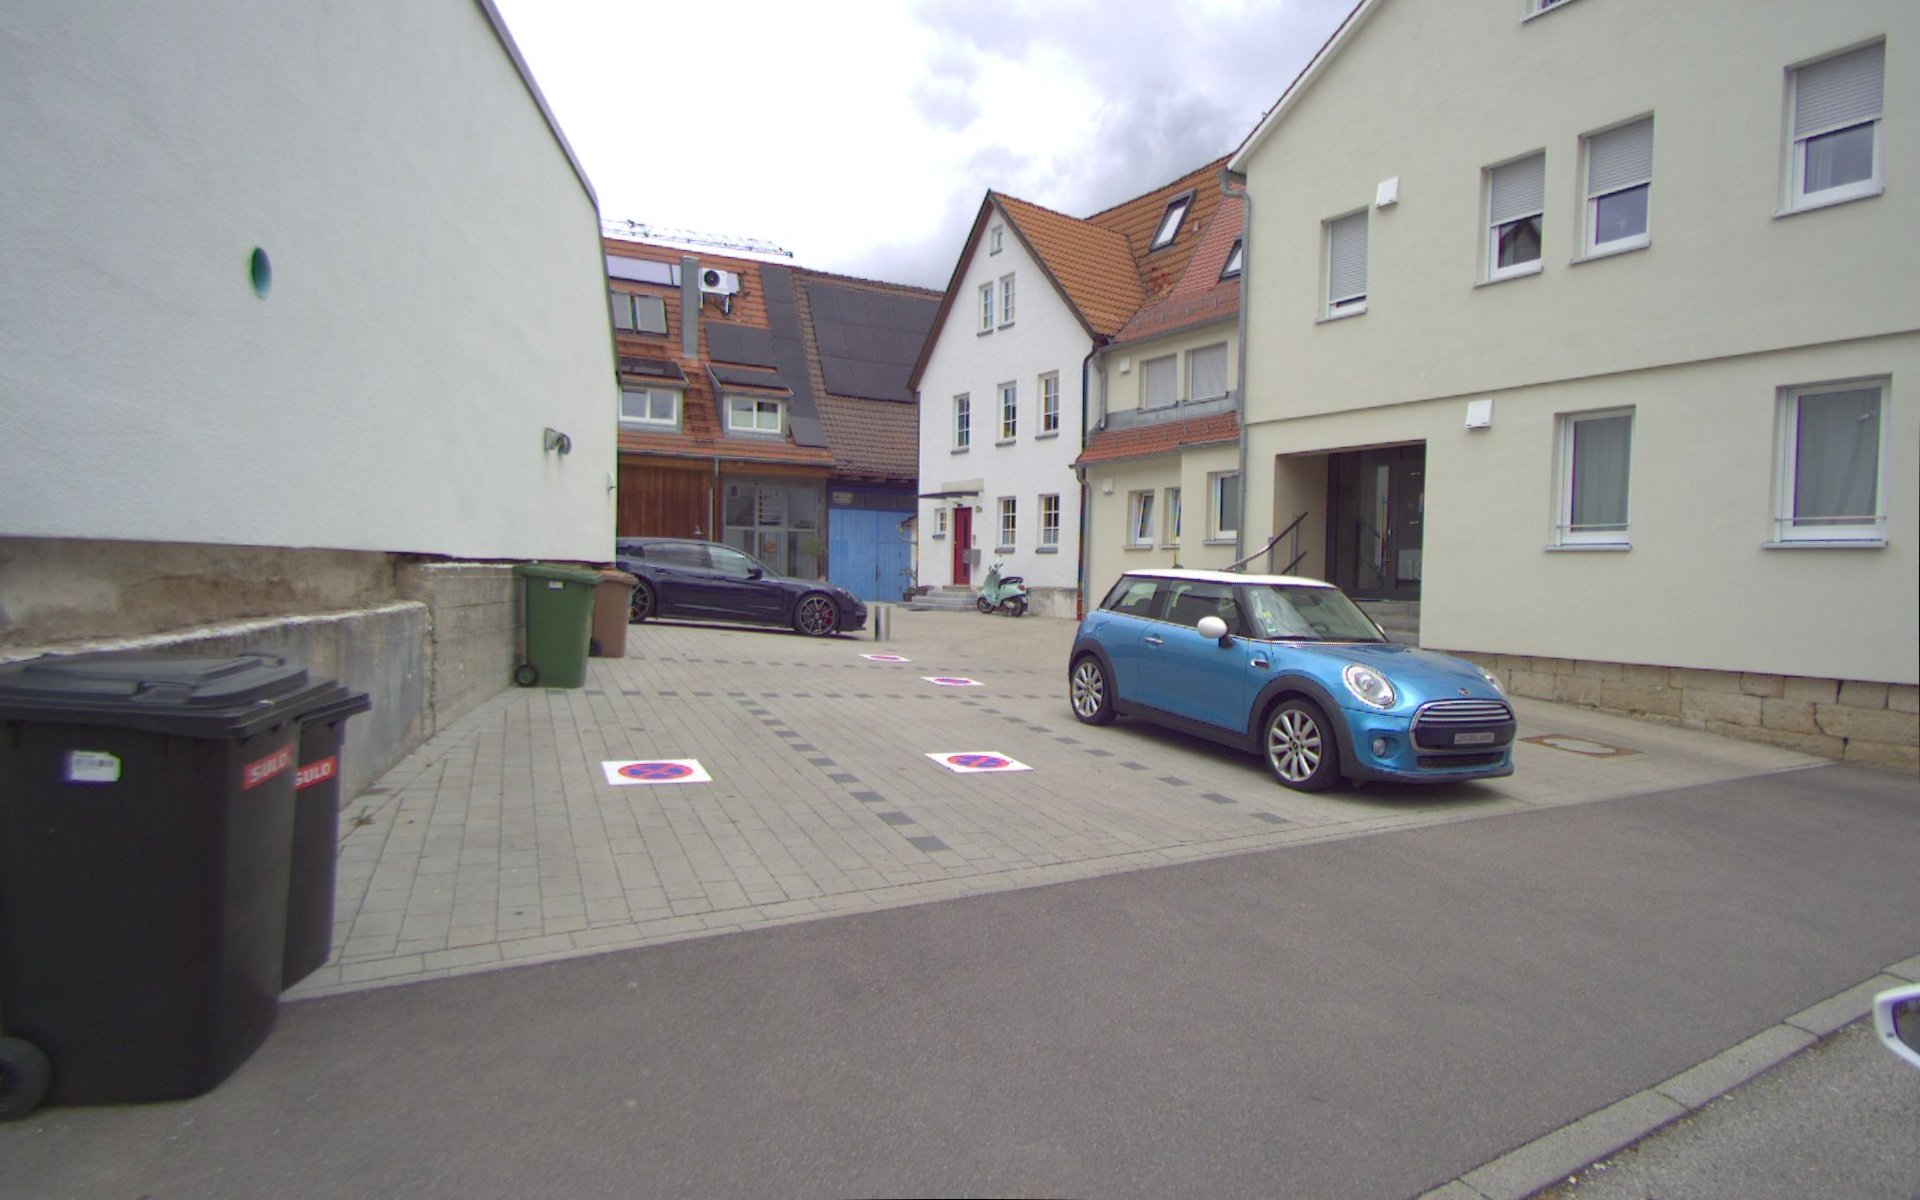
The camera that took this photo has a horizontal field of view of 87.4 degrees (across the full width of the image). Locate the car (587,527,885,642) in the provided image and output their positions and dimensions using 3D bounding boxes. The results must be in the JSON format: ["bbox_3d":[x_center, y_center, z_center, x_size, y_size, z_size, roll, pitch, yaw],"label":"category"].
[{"bbox_3d":[-3.659,-0.225,16.725,4.499,1.424,1.792,5,0,-13],"label":"car"}]

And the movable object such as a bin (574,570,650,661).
[{"bbox_3d":[-3.844,0.163,11.136,0.680,0.964,0.555,3,1,-10],"label":"movable object such as a bin"}]

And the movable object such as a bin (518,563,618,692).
[{"bbox_3d":[-3.478,0.233,8.955,0.713,1.090,0.554,2,2,-13],"label":"movable object such as a bin"}]

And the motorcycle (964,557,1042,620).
[{"bbox_3d":[0.954,-0.272,22.988,0.777,1.296,1.978,1,4,-31],"label":"motorcycle"}]

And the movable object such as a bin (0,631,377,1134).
[{"bbox_3d":[-2.047,0.666,2.595,0.739,1.090,0.615,3,3,-9],"label":"movable object such as a bin"}]

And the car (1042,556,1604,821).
[{"bbox_3d":[2.545,0.495,7.983,2.093,1.430,3.717,3,3,-26],"label":"car"}]

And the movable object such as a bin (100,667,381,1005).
[{"bbox_3d":[-2.206,0.707,3.130,0.561,0.917,0.450,3,4,-10],"label":"movable object such as a bin"}]
